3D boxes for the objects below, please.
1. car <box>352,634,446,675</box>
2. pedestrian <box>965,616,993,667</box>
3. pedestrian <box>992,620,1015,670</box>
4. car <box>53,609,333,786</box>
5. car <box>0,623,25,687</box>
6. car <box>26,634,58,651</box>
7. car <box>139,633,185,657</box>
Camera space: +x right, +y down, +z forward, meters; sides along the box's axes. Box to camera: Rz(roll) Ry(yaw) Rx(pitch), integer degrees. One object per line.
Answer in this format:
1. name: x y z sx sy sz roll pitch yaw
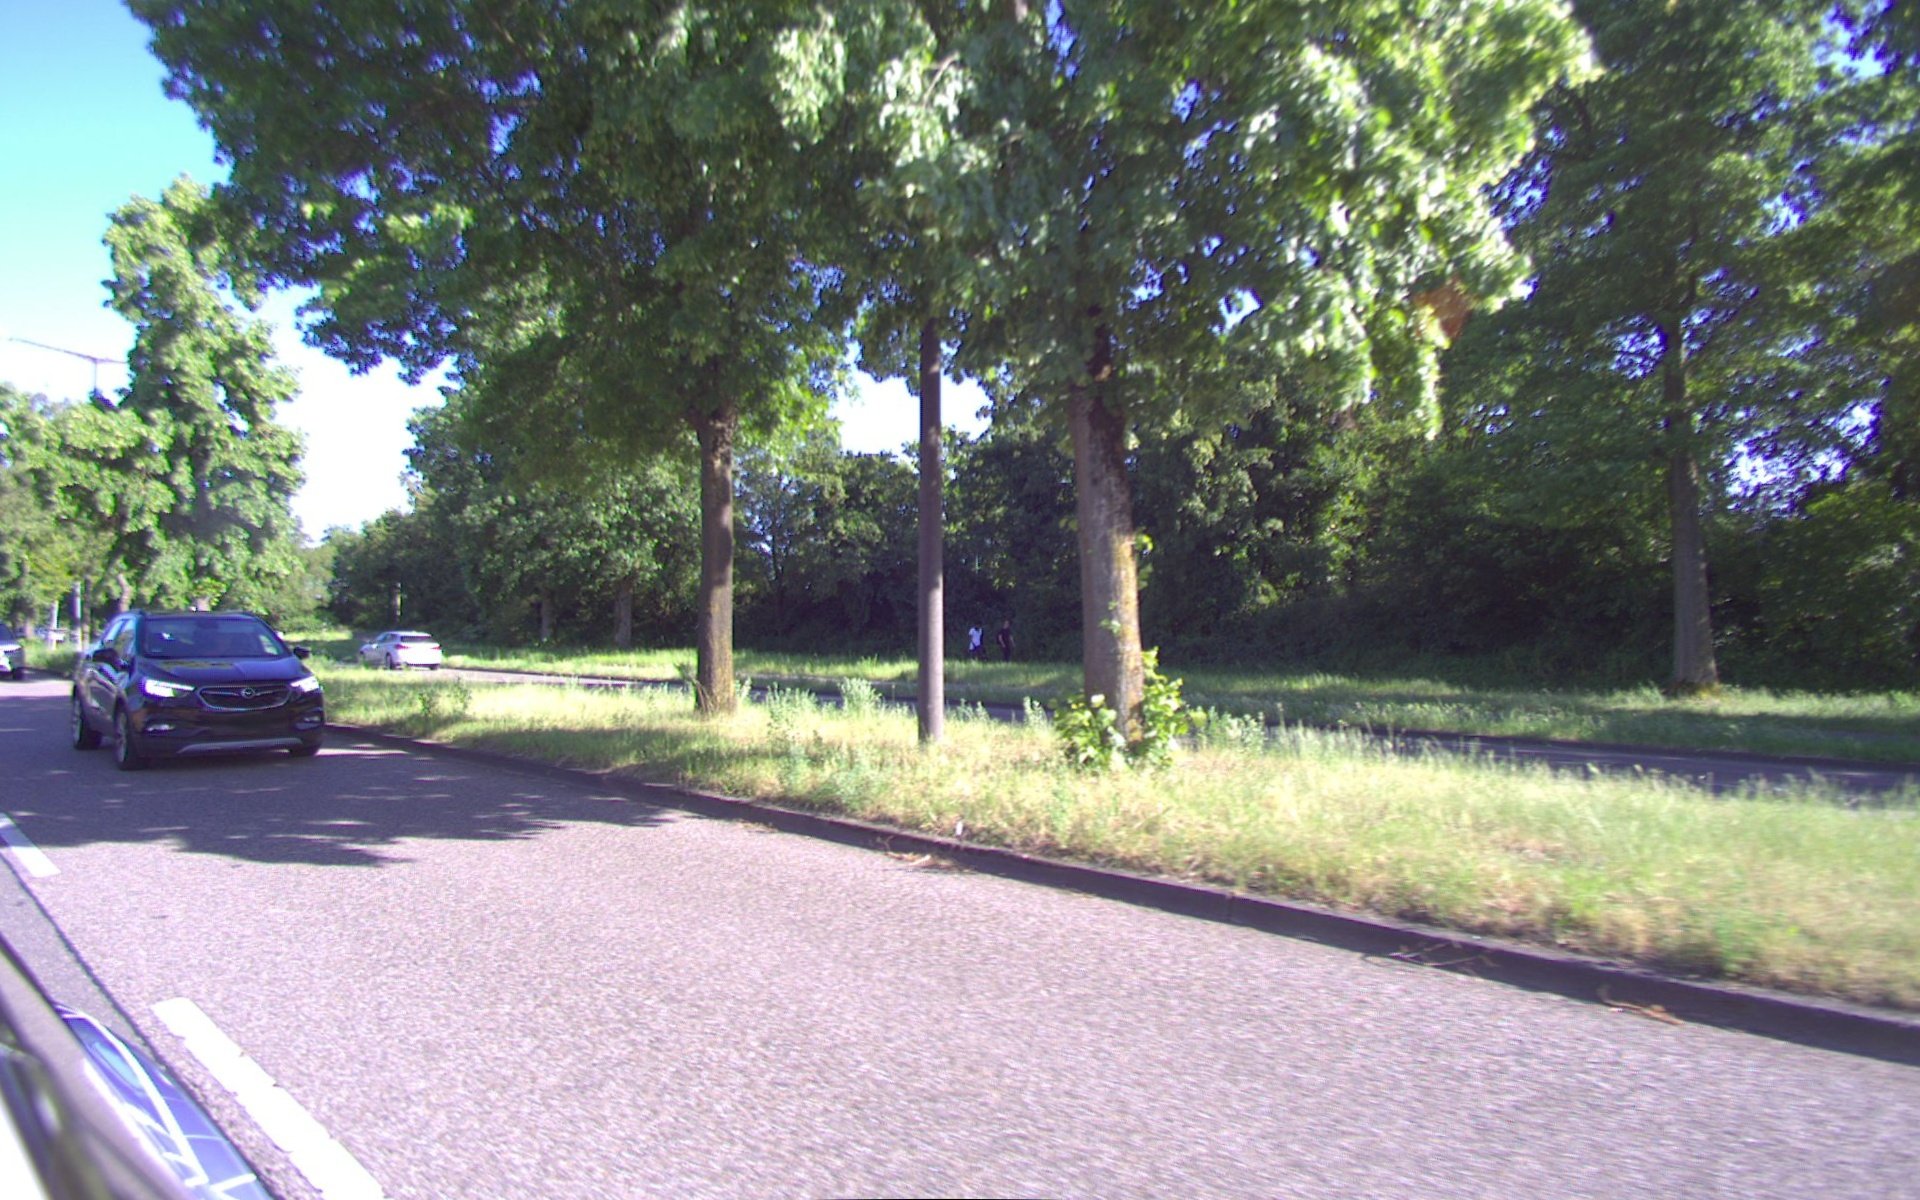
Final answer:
1. car: -21.440 2.062 38.633 4.343 1.468 1.708 -2 -5 41
2. pedestrian: 0.642 1.385 33.948 0.678 1.672 0.675 -1 0 36
3. pedestrian: 1.508 1.547 34.950 0.553 1.672 0.541 0 0 -44
4. car: -8.880 0.966 11.566 4.415 1.644 1.678 -1 -2 41
5. car: -26.371 1.428 26.904 4.104 1.622 1.766 -1 -2 41
6. car: -87.789 4.042 96.764 3.744 1.590 1.710 -2 -5 41
7. car: -53.605 3.022 67.972 3.744 1.590 1.710 -2 -5 41
